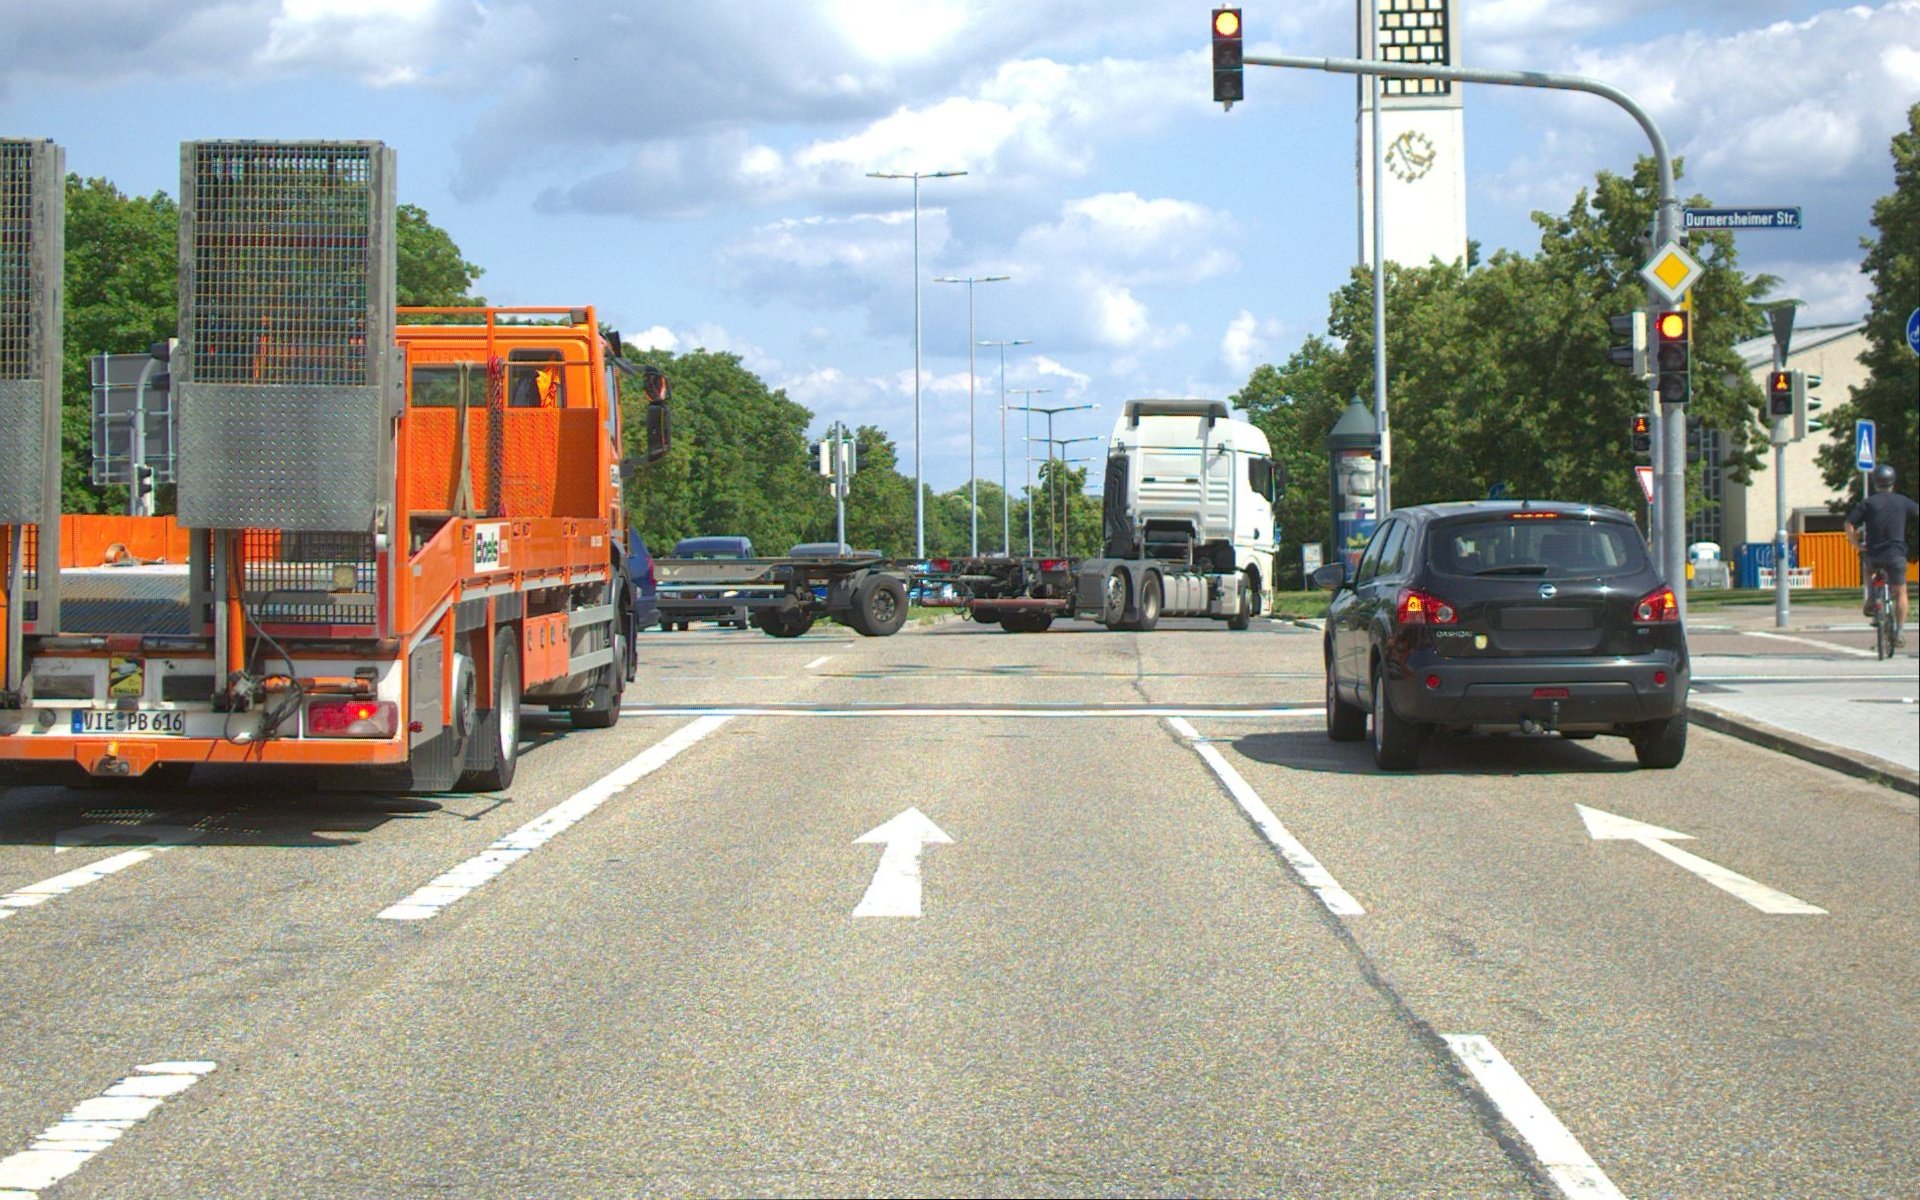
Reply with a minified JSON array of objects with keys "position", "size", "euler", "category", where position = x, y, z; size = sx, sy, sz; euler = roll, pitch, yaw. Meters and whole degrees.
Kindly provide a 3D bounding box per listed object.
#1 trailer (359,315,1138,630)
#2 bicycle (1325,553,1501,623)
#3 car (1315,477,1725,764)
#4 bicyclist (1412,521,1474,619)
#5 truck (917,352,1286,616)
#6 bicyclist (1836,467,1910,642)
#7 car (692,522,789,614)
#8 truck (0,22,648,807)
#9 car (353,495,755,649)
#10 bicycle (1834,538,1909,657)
[{"position":[-2.731,-1.736,48.903],"size":[11.287,3.998,3.631],"euler":[-1,2,-42],"category":"trailer"},{"position":[7.449,-0.201,56.472],"size":[2.832,1.108,0.797],"euler":[-1,1,-22],"category":"bicycle"},{"position":[3.298,0.102,20.973],"size":[1.799,1.547,4.000],"euler":[1,0,0],"category":"car"},{"position":[7.965,-0.497,56.667],"size":[0.698,1.610,0.797],"euler":[-1,1,-22],"category":"bicyclist"},{"position":[2.486,-1.854,56.182],"size":[2.963,3.957,8.627],"euler":[1,2,25],"category":"truck"},{"position":[8.807,-0.437,33.149],"size":[0.648,1.655,0.649],"euler":[1,0,16],"category":"bicyclist"},{"position":[-4.113,-0.598,64.737],"size":[1.734,1.654,4.231],"euler":[1,0,-3],"category":"car"},{"position":[-3.916,-0.861,20.605],"size":[3.070,3.402,11.068],"euler":[1,0,0],"category":"truck"},{"position":[-4.341,-0.282,37.275],"size":[1.854,1.568,4.203],"euler":[1,0,39],"category":"car"},{"position":[8.850,-0.028,33.339],"size":[0.648,1.104,1.926],"euler":[1,0,16],"category":"bicycle"}]
